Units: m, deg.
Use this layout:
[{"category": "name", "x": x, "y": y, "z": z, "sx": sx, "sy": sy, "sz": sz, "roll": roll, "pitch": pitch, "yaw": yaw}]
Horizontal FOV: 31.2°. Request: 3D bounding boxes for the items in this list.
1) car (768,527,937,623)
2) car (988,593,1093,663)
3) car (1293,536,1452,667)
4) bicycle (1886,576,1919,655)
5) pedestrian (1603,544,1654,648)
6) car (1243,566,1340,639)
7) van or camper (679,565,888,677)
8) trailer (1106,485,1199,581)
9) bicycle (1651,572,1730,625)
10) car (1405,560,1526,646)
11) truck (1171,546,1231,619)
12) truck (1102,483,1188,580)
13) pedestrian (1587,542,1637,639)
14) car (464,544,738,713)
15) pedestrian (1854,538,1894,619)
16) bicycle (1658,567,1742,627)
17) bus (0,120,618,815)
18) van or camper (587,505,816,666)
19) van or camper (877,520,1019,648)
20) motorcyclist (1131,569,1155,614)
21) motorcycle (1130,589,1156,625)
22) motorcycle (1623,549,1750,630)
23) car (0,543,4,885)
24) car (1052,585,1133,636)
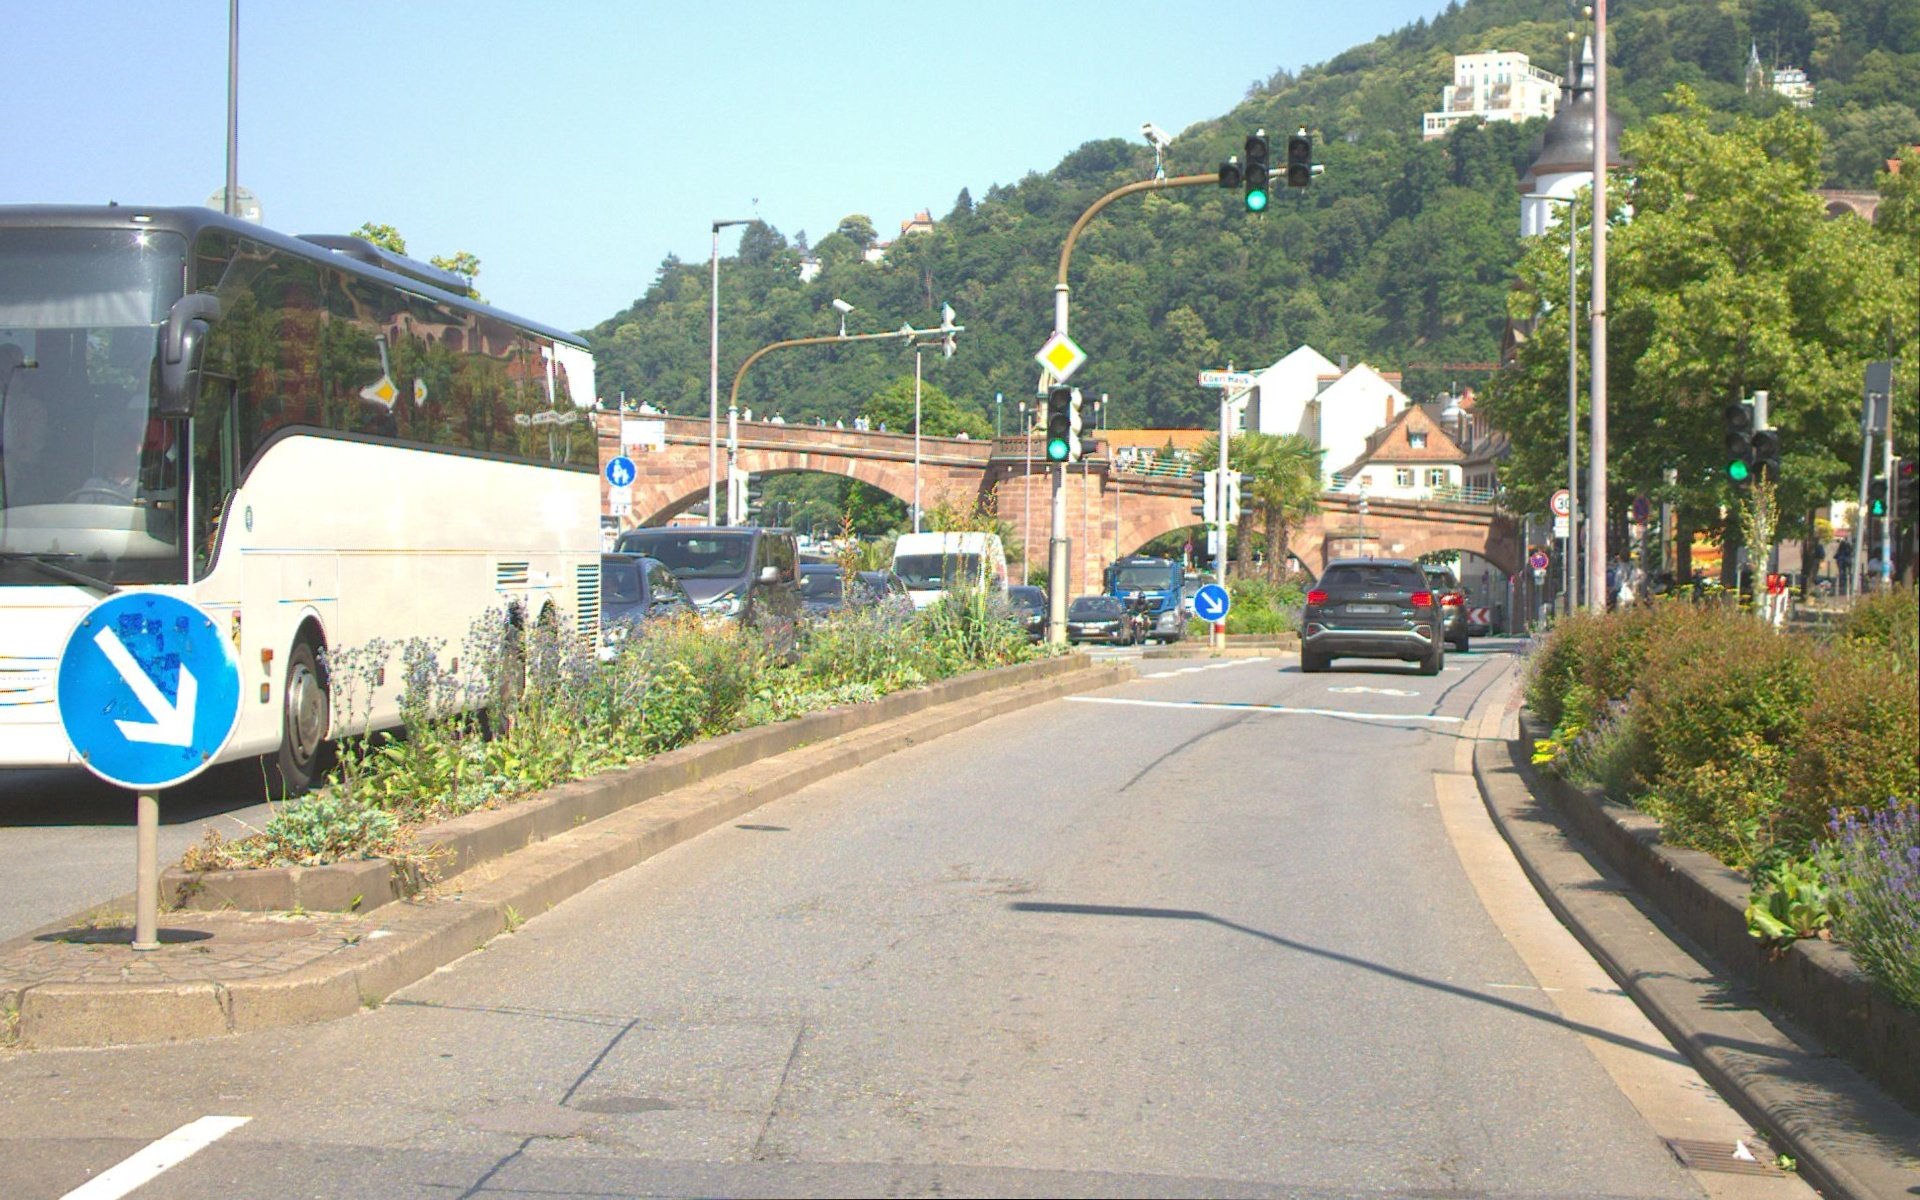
[{"category": "car", "x": -1.667, "y": -0.401, "z": 54.925, "sx": 1.953, "sy": 1.404, "sz": 4.569, "roll": -2, "pitch": 0, "yaw": 8}, {"category": "car", "x": 1.852, "y": 0.603, "z": 77.629, "sx": 1.819, "sy": 1.451, "sz": 4.927, "roll": -1, "pitch": 0, "yaw": 7}, {"category": "car", "x": 5.530, "y": -0.026, "z": 45.933, "sx": 1.927, "sy": 1.548, "sz": 4.831, "roll": 3, "pitch": 1, "yaw": 7}, {"category": "bicycle", "x": 15.309, "y": 0.279, "z": 52.788, "sx": 2.000, "sy": 1.194, "sz": 0.521, "roll": 3, "pitch": 2, "yaw": 20}, {"category": "pedestrian", "x": 11.490, "y": -0.077, "z": 59.098, "sx": 0.693, "sy": 1.765, "sz": 0.764, "roll": -1, "pitch": 1, "yaw": 0}, {"category": "car", "x": 7.631, "y": 0.033, "z": 78.765, "sx": 1.994, "sy": 1.548, "sz": 4.830, "roll": 1, "pitch": 1, "yaw": 8}, {"category": "van or camper", "x": -2.388, "y": 0.272, "z": 47.951, "sx": 1.994, "sy": 1.472, "sz": 5.063, "roll": -1, "pitch": 0, "yaw": 8}, {"category": "trailer", "x": 7.180, "y": -2.429, "z": 127.179, "sx": 2.658, "sy": 3.392, "sz": 8.823, "roll": 1, "pitch": 1, "yaw": 8}, {"category": "bicycle", "x": 14.312, "y": -0.029, "z": 67.365, "sx": 1.484, "sy": 1.043, "sz": 0.251, "roll": 0, "pitch": 0, "yaw": 3}, {"category": "car", "x": 9.152, "y": 0.022, "z": 61.993, "sx": 1.927, "sy": 1.456, "sz": 4.830, "roll": 1, "pitch": 1, "yaw": 11}, {"category": "truck", "x": 11.539, "y": -0.851, "z": 164.431, "sx": 2.658, "sy": 3.392, "sz": 5.134, "roll": 1, "pitch": 1, "yaw": 5}, {"category": "truck", "x": 6.689, "y": -2.433, "z": 123.679, "sx": 2.658, "sy": 3.392, "sz": 4.448, "roll": 1, "pitch": 1, "yaw": 8}, {"category": "pedestrian", "x": 11.336, "y": -0.171, "z": 59.791, "sx": 0.693, "sy": 1.671, "sz": 0.764, "roll": -1, "pitch": 1, "yaw": 0}, {"category": "car", "x": -3.690, "y": 0.254, "z": 36.302, "sx": 1.994, "sy": 1.593, "sz": 5.156, "roll": -2, "pitch": 1, "yaw": 4}, {"category": "pedestrian", "x": 18.735, "y": -0.438, "z": 70.465, "sx": 0.708, "sy": 1.647, "sz": 0.706, "roll": 1, "pitch": 1, "yaw": 9}, {"category": "bicycle", "x": 13.934, "y": -0.061, "z": 64.744, "sx": 1.484, "sy": 1.116, "sz": 0.378, "roll": 0, "pitch": 0, "yaw": 3}, {"category": "bus", "x": -4.843, "y": -0.697, "z": 24.152, "sx": 2.631, "sy": 3.552, "sz": 12.981, "roll": 1, "pitch": 0, "yaw": 4}, {"category": "van or camper", "x": -3.102, "y": -0.190, "z": 42.361, "sx": 1.994, "sy": 1.867, "sz": 5.179, "roll": 0, "pitch": 0, "yaw": 5}, {"category": "van or camper", "x": -0.186, "y": -0.294, "z": 69.246, "sx": 1.994, "sy": 2.441, "sz": 5.492, "roll": -1, "pitch": 0, "yaw": 9}, {"category": "motorcyclist", "x": 5.941, "y": -0.282, "z": 111.457, "sx": 0.736, "sy": 1.465, "sz": 1.011, "roll": 1, "pitch": 0, "yaw": 5}, {"category": "motorcycle", "x": 5.925, "y": 0.228, "z": 111.372, "sx": 0.757, "sy": 1.128, "sz": 2.455, "roll": 1, "pitch": 1, "yaw": 5}, {"category": "motorcycle", "x": 13.321, "y": -0.188, "z": 63.088, "sx": 0.762, "sy": 1.460, "sz": 2.297, "roll": 0, "pitch": -1, "yaw": -41}, {"category": "car", "x": -4.888, "y": 0.520, "z": 12.275, "sx": 1.816, "sy": 1.424, "sz": 4.193, "roll": 0, "pitch": 1, "yaw": -1}, {"category": "car", "x": 3.885, "y": 0.317, "z": 100.070, "sx": 1.953, "sy": 1.408, "sz": 4.217, "roll": -1, "pitch": -1, "yaw": 8}]
